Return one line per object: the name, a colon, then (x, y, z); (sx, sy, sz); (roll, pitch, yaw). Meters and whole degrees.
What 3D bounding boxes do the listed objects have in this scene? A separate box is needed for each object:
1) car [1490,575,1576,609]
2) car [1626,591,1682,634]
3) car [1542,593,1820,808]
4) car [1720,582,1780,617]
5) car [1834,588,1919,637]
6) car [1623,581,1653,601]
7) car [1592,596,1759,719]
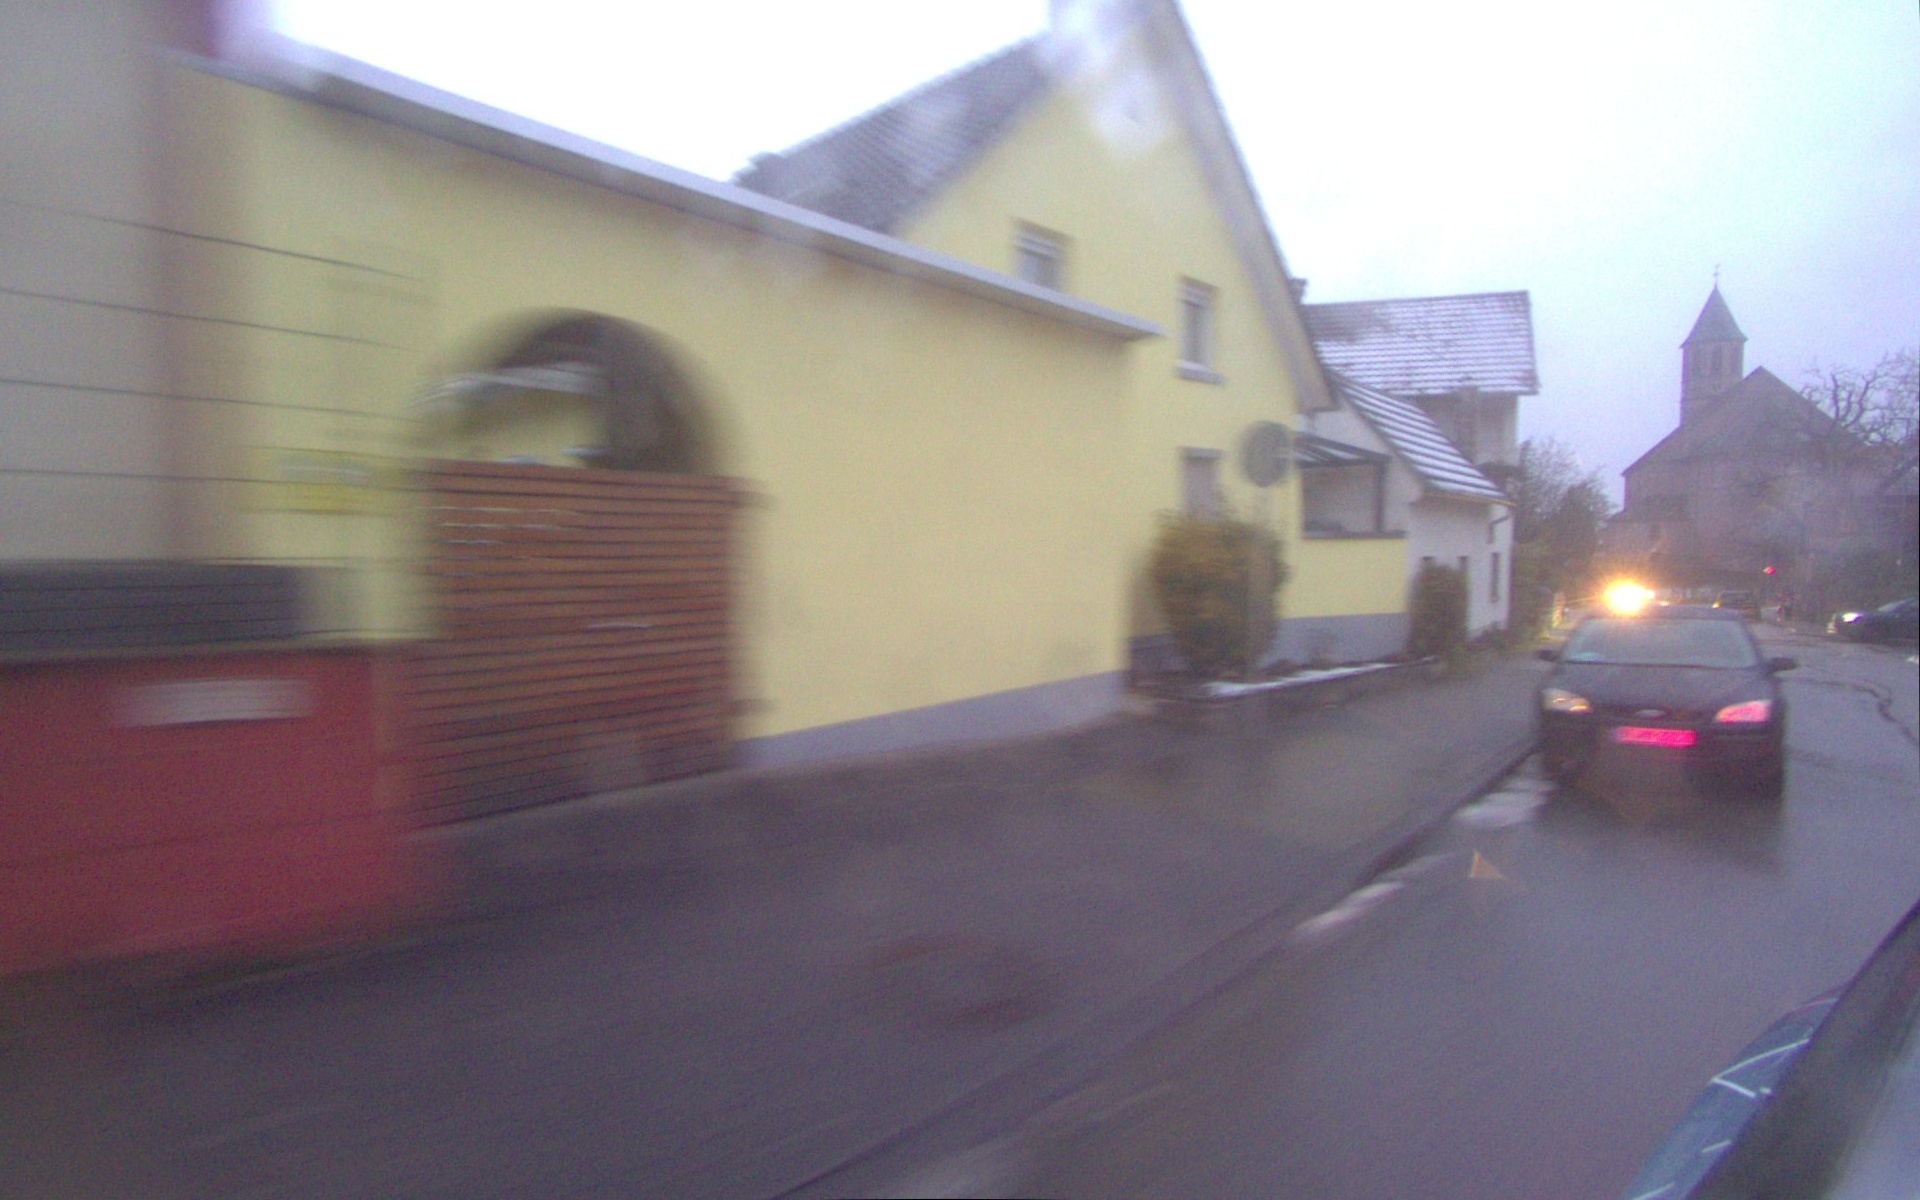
car: (31.568, -0.486, 55.933); (3.959, 1.816, 1.983); (1, 1, 26)
car: (35.521, 0.597, 51.874); (1.983, 2.038, 3.959); (1, 1, 29)
car: (6.863, 0.705, 9.672); (1.722, 1.449, 4.735); (1, 2, 37)
car: (39.581, -0.086, 50.786); (1.986, 1.649, 3.953); (1, 2, 33)
car: (32.697, 0.426, 34.158); (4.440, 1.598, 1.980); (1, 1, 29)
car: (53.208, -0.704, 79.432); (1.756, 1.516, 3.947); (0, 1, 37)
car: (10.735, 0.715, 15.126); (1.786, 1.457, 4.561); (1, 2, 37)
